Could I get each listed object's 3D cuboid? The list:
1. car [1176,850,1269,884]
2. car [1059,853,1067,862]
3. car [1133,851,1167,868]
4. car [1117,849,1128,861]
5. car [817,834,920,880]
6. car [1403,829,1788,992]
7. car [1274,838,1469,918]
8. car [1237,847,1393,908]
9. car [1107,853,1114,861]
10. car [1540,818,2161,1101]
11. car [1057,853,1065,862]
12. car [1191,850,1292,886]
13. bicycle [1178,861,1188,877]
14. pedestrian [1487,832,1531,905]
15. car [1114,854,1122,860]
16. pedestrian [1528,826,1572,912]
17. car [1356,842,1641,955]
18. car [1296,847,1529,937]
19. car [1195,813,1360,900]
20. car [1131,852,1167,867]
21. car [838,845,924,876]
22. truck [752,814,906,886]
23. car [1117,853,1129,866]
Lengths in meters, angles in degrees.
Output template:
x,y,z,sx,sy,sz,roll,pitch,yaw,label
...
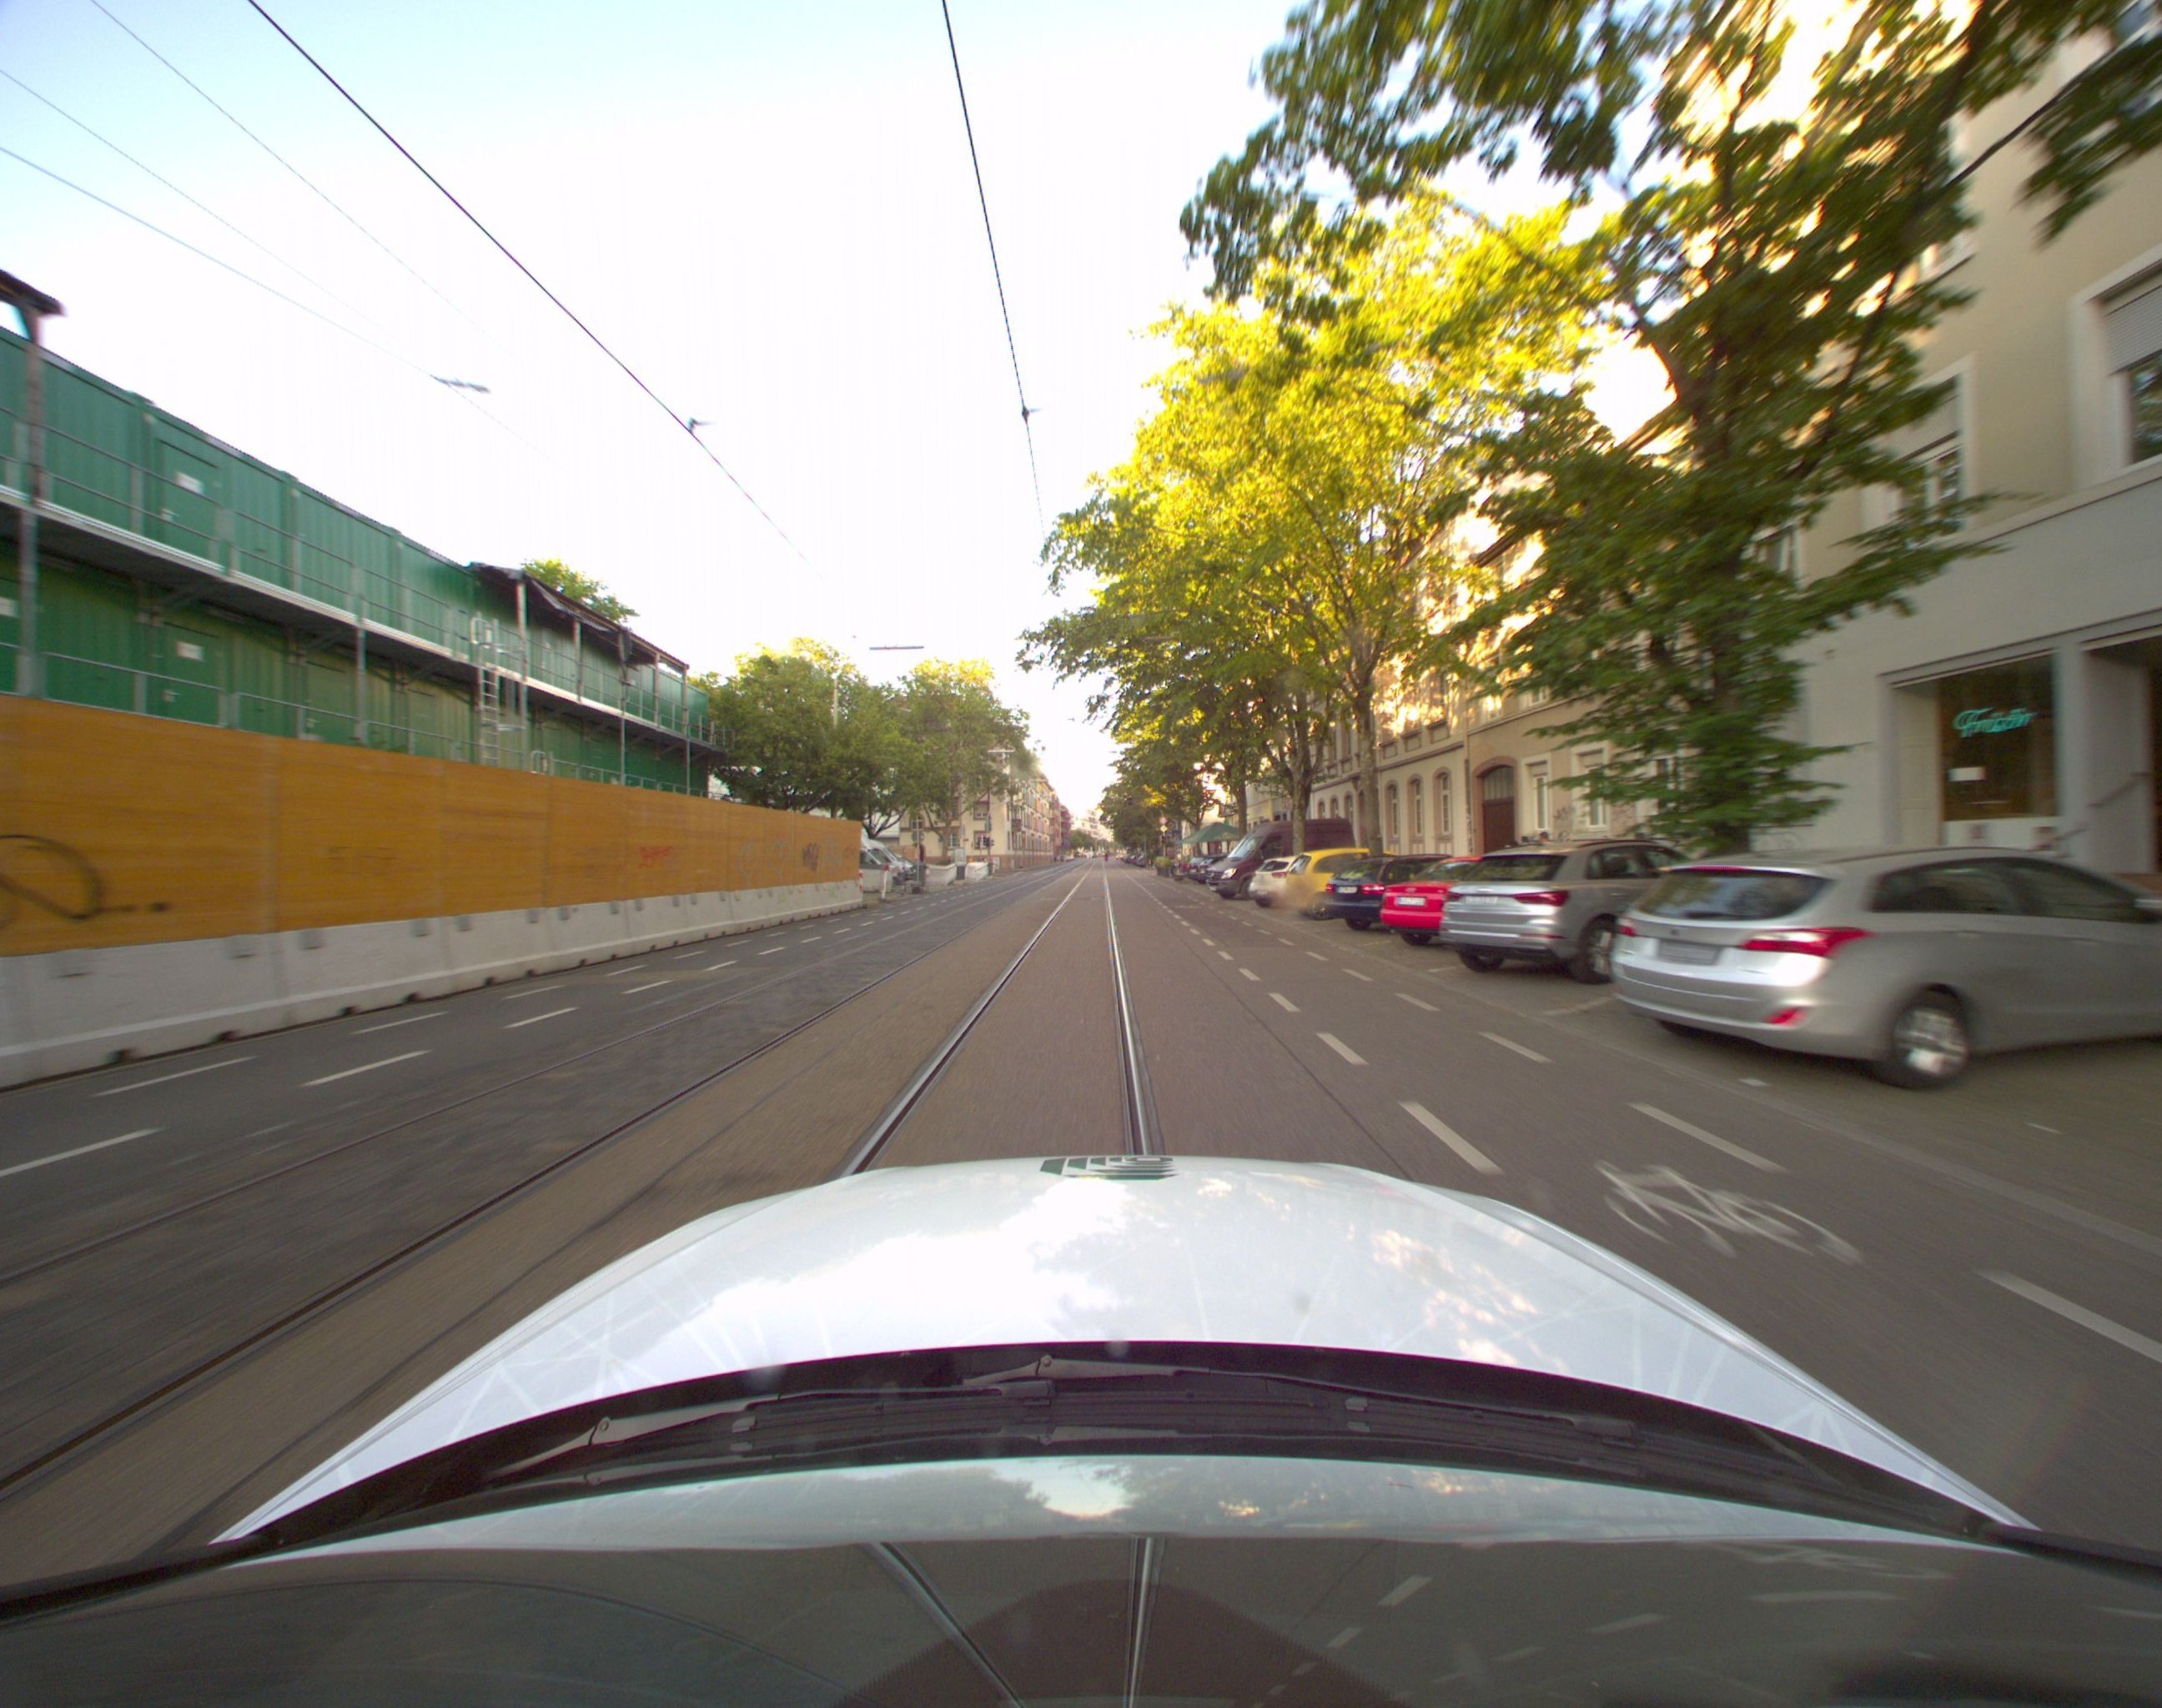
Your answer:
x,y,z,sx,sy,sz,roll,pitch,yaw,label
7.172,0.658,41.199,4.194,1.498,1.993,-2,-1,-24,car
-4.437,0.736,200.754,1.891,2.178,4.001,-1,0,1,car
8.022,0.636,95.441,3.872,1.848,1.862,-1,-1,2,car
7.013,0.175,137.534,1.798,2.013,4.001,-1,0,1,car
-12.304,0.182,47.498,5.384,2.558,2.226,1,0,-2,car
6.412,0.591,10.181,4.267,1.560,1.884,-3,-1,-22,car
6.828,0.562,19.473,3.935,1.619,1.921,-3,-1,1,car
6.734,0.657,23.497,3.967,1.486,1.906,-3,-1,-23,car
7.816,0.775,215.416,1.891,2.013,4.001,-1,0,1,car
6.155,0.607,6.231,4.250,1.549,2.013,-3,0,-10,car
-4.821,0.852,196.112,1.891,2.013,4.001,-1,0,1,car
7.526,0.644,38.336,4.182,1.462,1.998,-2,-1,-15,car
6.449,0.947,51.512,0.417,1.015,1.830,-1,0,2,bicycle
9.529,0.320,18.139,0.536,1.568,0.814,-2,0,3,pedestrian
10.268,0.871,226.682,1.956,1.718,4.001,-1,0,1,car
10.139,0.318,17.636,0.563,1.814,0.607,-2,0,1,pedestrian
6.744,0.641,13.149,4.141,1.425,1.882,-3,-1,-24,car
6.550,0.691,16.097,4.141,1.425,1.905,-3,-1,-24,car
6.776,0.064,28.159,5.105,2.642,2.011,-3,0,-16,car
7.483,0.572,90.396,3.872,1.592,1.862,-1,0,2,car
-13.045,0.412,53.326,5.002,1.945,2.230,1,0,5,car
-12.730,-0.217,41.551,7.039,3.480,2.539,1,0,-3,truck
6.616,0.875,129.199,1.715,2.013,4.001,-1,0,1,car
